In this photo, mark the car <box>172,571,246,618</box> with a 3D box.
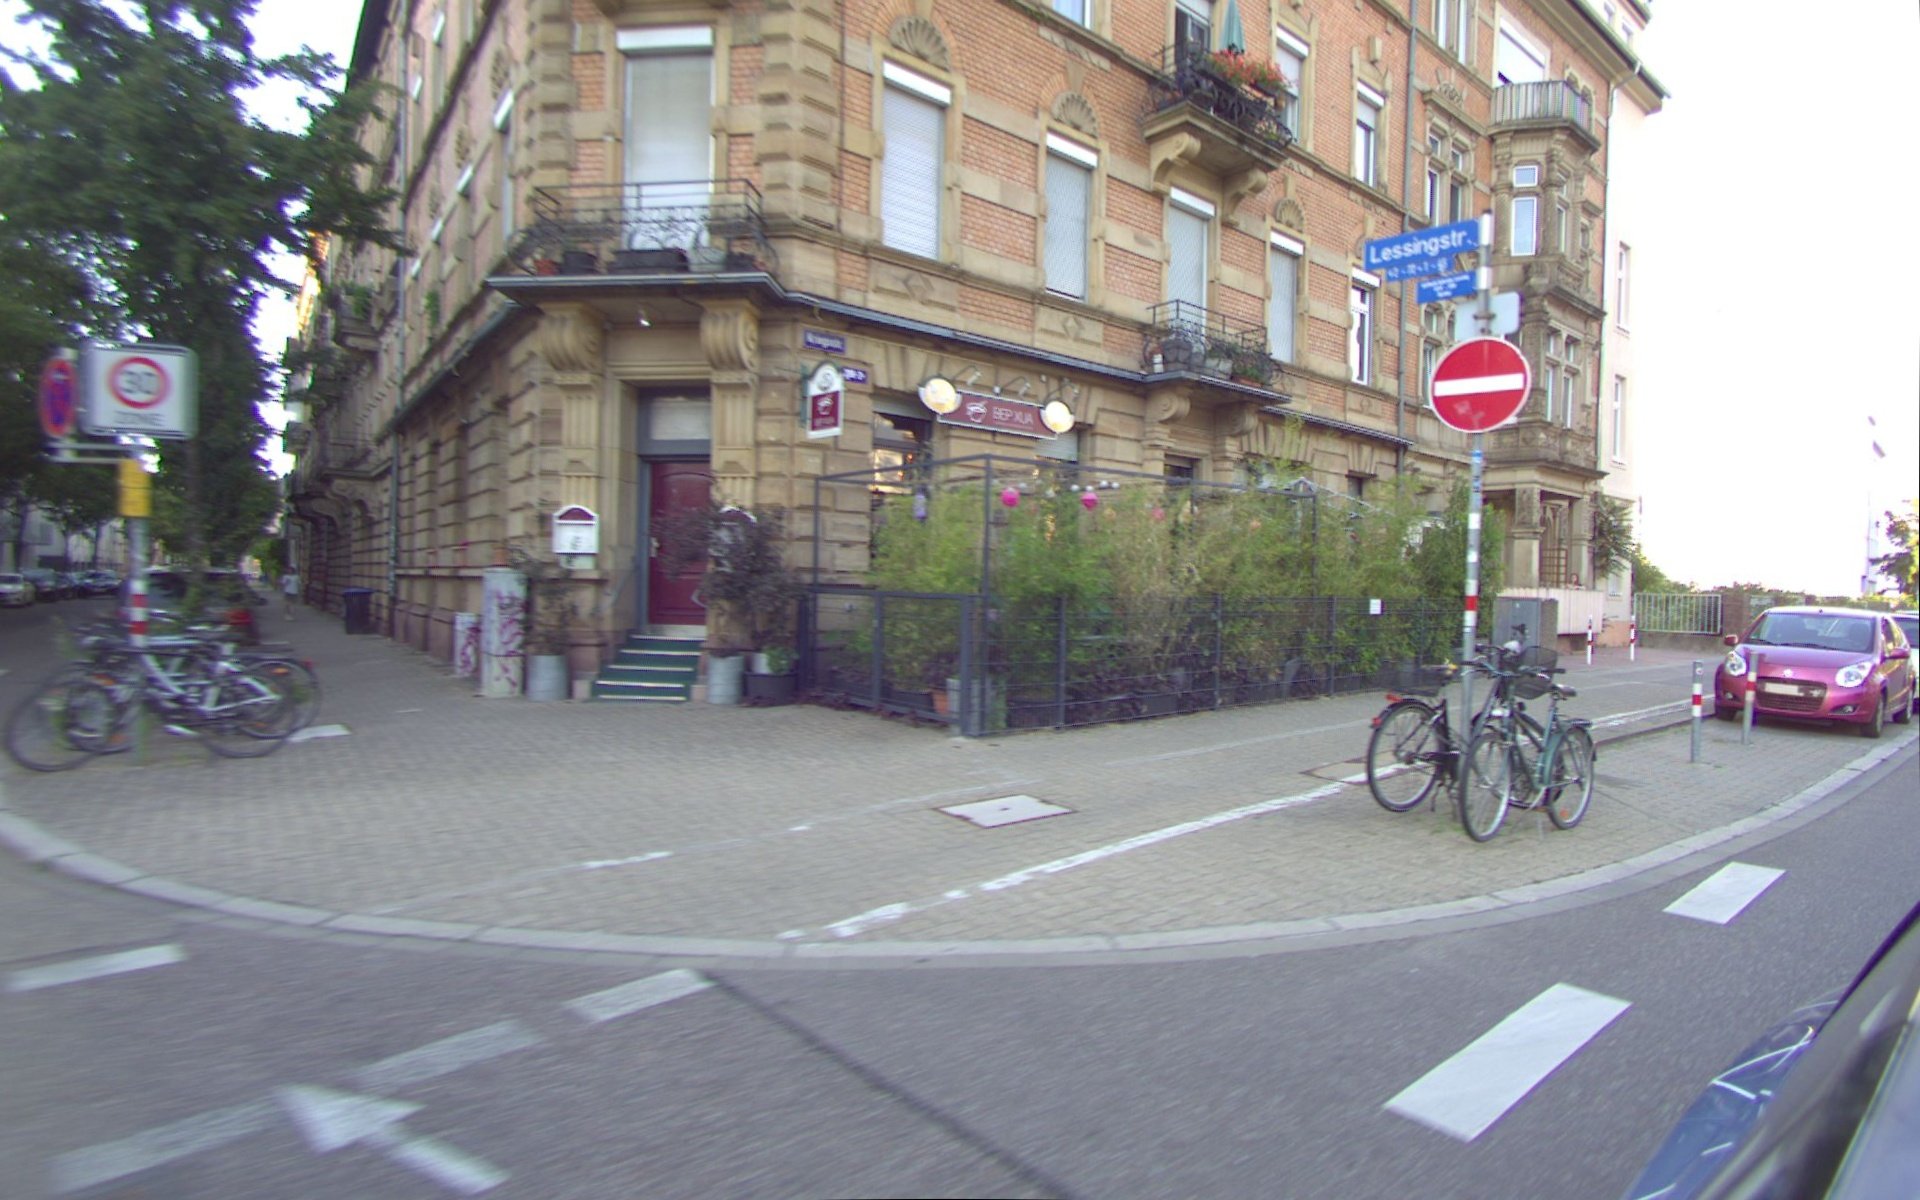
[{"bbox_3d":[-24.503,-0.209,33.098,1.813,1.436,4.000,1,1,-36],"label":"car"}]

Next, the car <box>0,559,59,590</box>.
[{"bbox_3d":[-46.011,-1.246,50.013,1.813,1.436,4.000,1,1,-36],"label":"car"}]

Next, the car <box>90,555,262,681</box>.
[{"bbox_3d":[-11.709,0.195,15.304,1.813,1.626,4.000,1,1,-36],"label":"car"}]

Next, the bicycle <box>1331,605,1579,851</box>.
[{"bbox_3d":[3.305,0.732,6.642,2.226,1.290,0.567,-1,6,-41],"label":"bicycle"}]

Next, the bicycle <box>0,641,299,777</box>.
[{"bbox_3d":[-5.932,0.769,7.503,1.701,0.827,0.295,-2,1,-32],"label":"bicycle"}]

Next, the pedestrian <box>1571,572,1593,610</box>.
[{"bbox_3d":[14.714,-0.213,23.940,0.313,0.881,0.310,0,-1,-8],"label":"pedestrian"}]

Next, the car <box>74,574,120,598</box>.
[{"bbox_3d":[-50.253,-0.845,58.993,1.670,1.351,4.000,1,1,-36],"label":"car"}]

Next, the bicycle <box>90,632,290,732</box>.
[{"bbox_3d":[-7.247,0.752,9.590,1.468,0.827,0.295,-2,0,-32],"label":"bicycle"}]

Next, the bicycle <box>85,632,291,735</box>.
[{"bbox_3d":[-7.061,0.743,9.324,1.468,0.827,0.295,-2,0,-32],"label":"bicycle"}]

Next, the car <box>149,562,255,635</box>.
[{"bbox_3d":[-17.530,-0.066,23.512,1.813,1.542,4.000,1,1,-36],"label":"car"}]

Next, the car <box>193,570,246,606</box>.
[{"bbox_3d":[-32.838,-0.546,44.954,1.813,1.499,4.000,1,1,-36],"label":"car"}]

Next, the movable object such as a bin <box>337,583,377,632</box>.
[{"bbox_3d":[-14.483,0.178,24.298,0.745,1.142,0.695,1,1,-38],"label":"movable object such as a bin"}]

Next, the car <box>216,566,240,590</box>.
[{"bbox_3d":[-70.984,-2.166,98.192,1.813,2.261,4.000,1,1,-36],"label":"car"}]

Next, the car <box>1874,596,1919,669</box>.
[{"bbox_3d":[21.797,0.744,22.348,4.387,1.465,1.891,0,4,-42],"label":"car"}]

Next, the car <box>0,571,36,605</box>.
[{"bbox_3d":[-40.313,-0.527,42.470,1.813,1.375,4.000,1,1,-36],"label":"car"}]

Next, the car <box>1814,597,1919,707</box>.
[{"bbox_3d":[14.572,0.751,15.568,3.614,1.443,1.680,0,4,-43],"label":"car"}]

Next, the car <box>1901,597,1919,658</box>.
[{"bbox_3d":[24.953,0.742,25.248,3.774,1.443,1.751,1,4,-42],"label":"car"}]

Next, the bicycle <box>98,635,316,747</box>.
[{"bbox_3d":[-6.446,0.756,8.736,1.468,0.827,0.295,-2,0,-32],"label":"bicycle"}]

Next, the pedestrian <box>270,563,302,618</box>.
[{"bbox_3d":[-21.156,-0.290,31.753,0.783,1.691,0.589,1,0,-38],"label":"pedestrian"}]

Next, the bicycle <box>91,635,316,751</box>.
[{"bbox_3d":[-6.274,0.749,8.469,1.468,0.827,0.295,-2,0,-32],"label":"bicycle"}]

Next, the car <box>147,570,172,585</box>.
[{"bbox_3d":[-82.091,-2.310,103.819,1.813,1.436,4.000,1,1,-36],"label":"car"}]

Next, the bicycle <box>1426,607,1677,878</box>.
[{"bbox_3d":[3.686,0.754,6.203,2.226,1.314,0.567,-1,6,-41],"label":"bicycle"}]

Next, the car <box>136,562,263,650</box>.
[{"bbox_3d":[-14.801,0.072,19.818,1.813,1.542,4.000,1,1,-36],"label":"car"}]

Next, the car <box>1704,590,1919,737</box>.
[{"bbox_3d":[11.119,0.710,12.923,3.483,1.482,1.731,1,4,-40],"label":"car"}]

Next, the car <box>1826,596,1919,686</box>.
[{"bbox_3d":[17.920,0.744,18.972,4.267,1.443,1.892,1,4,-41],"label":"car"}]
